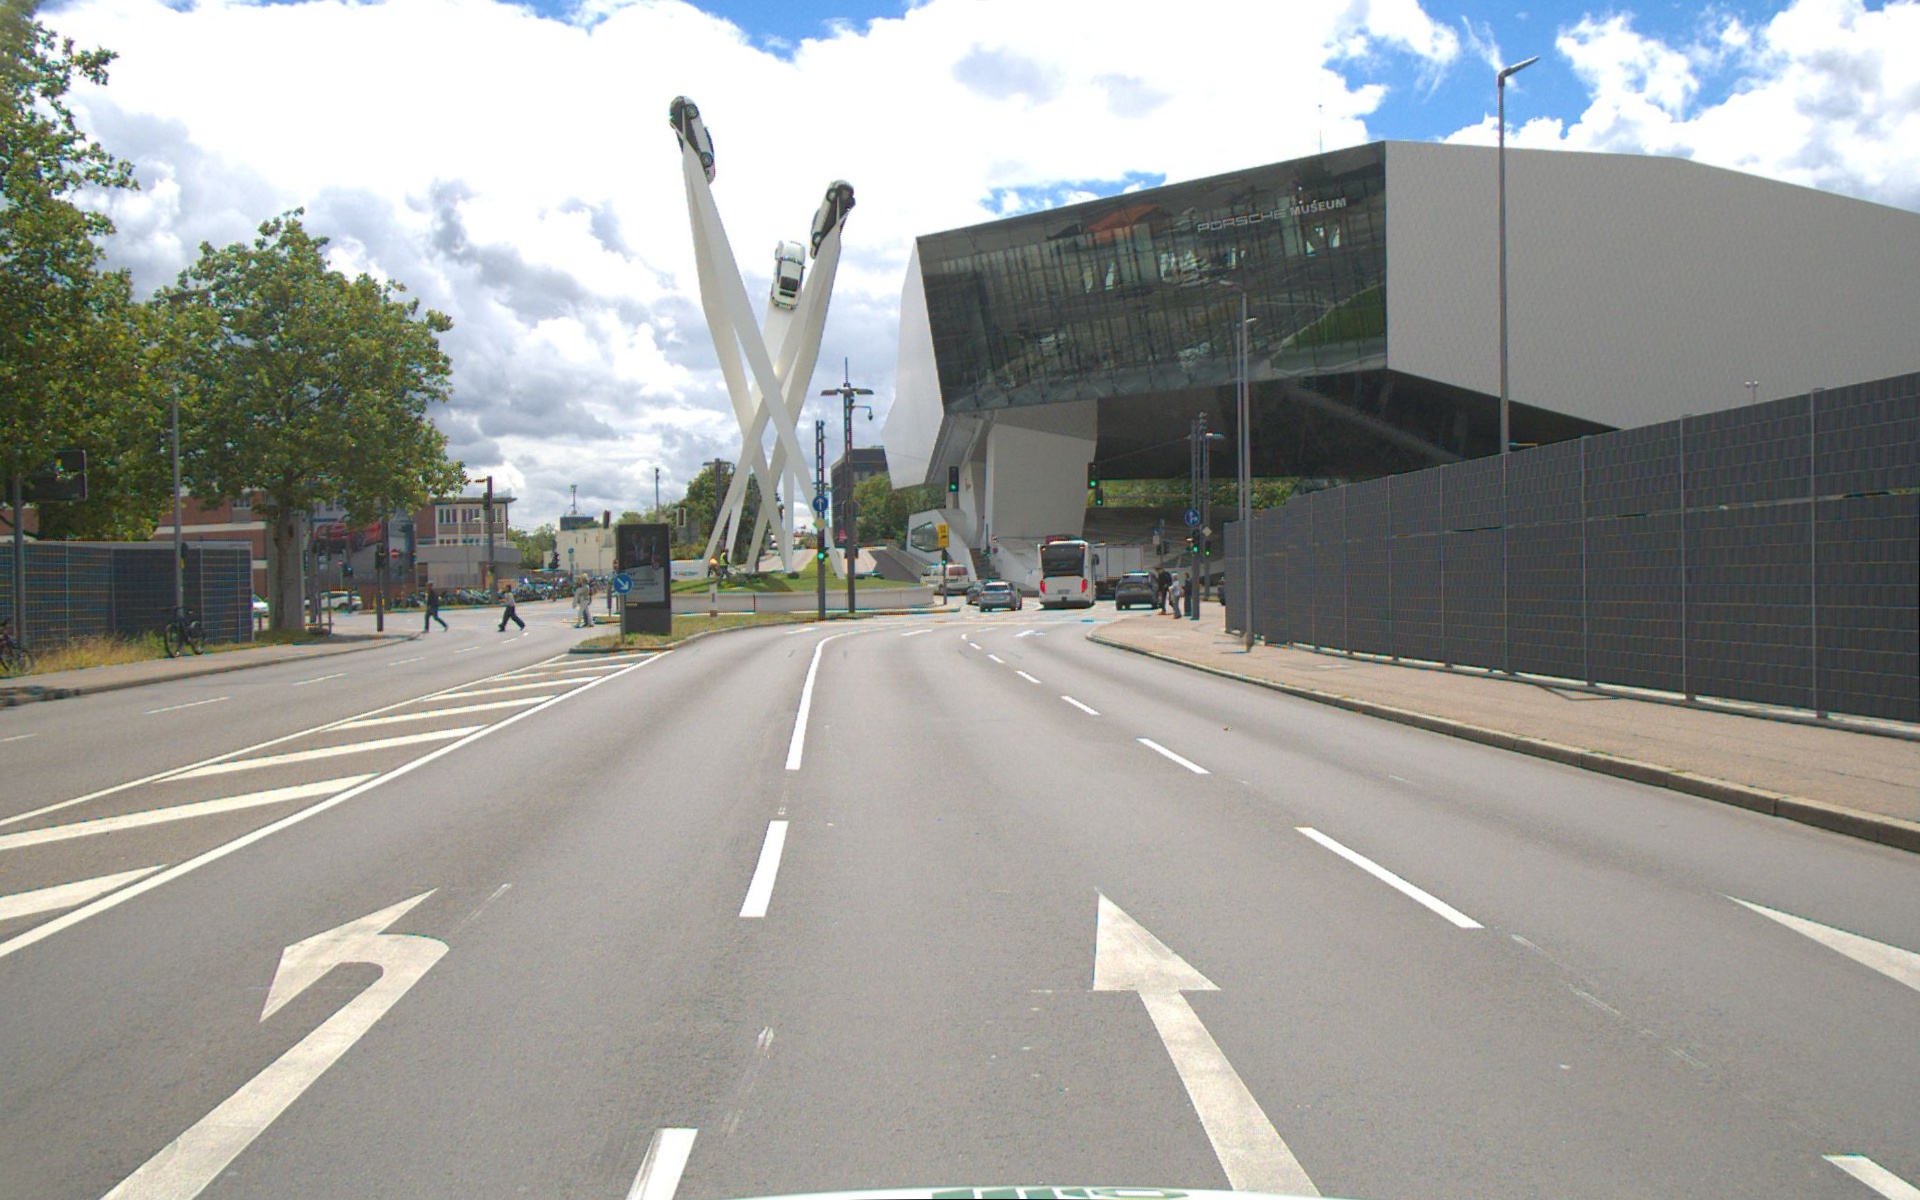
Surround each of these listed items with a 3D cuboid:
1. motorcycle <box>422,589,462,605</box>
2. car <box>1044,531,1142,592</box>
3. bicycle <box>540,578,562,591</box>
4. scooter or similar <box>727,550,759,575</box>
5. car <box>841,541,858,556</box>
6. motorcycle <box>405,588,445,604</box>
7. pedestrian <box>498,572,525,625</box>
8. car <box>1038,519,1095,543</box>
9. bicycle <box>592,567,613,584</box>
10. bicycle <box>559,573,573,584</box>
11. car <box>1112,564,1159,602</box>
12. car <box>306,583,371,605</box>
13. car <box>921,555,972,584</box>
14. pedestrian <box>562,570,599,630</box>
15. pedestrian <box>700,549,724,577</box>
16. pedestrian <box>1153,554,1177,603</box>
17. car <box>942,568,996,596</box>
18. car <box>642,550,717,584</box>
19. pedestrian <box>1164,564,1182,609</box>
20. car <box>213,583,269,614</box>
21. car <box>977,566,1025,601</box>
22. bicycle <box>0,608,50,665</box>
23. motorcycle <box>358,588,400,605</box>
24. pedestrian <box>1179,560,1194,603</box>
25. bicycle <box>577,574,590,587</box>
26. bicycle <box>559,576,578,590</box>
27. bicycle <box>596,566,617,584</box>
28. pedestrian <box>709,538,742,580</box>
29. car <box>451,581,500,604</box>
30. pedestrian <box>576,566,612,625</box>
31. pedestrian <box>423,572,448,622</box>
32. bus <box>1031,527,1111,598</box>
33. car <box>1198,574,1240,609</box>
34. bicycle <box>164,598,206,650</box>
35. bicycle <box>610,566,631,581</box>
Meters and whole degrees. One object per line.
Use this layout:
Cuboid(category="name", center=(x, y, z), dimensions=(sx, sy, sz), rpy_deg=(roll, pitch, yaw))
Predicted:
Cuboid(category="motorcycle", center=(-40.083, -0.262, 128.020), dimensions=(2.841, 1.216, 0.921), rpy_deg=(0, 0, 14))
Cuboid(category="car", center=(8.155, -2.294, 102.699), dimensions=(3.279, 3.565, 9.307), rpy_deg=(0, 0, -14))
Cuboid(category="bicycle", center=(-29.971, -1.137, 121.285), dimensions=(0.483, 0.881, 1.605), rpy_deg=(0, 3, 36))
Cuboid(category="scooter or similar", center=(-10.414, -1.821, 79.403), dimensions=(1.382, 1.042, 0.546), rpy_deg=(-5, 7, -24))
Cuboid(category="car", center=(-13.261, -6.218, 199.455), dimensions=(1.954, 1.664, 4.654), rpy_deg=(0, 2, -3))
Cuboid(category="motorcycle", center=(-40.612, -0.280, 125.521), dimensions=(2.841, 1.216, 0.921), rpy_deg=(0, 0, 14))
Cuboid(category="pedestrian", center=(-15.511, -0.046, 57.186), dimensions=(0.850, 1.805, 1.030), rpy_deg=(0, 0, -18))
Cuboid(category="car", center=(8.681, -5.665, 135.017), dimensions=(4.436, 1.418, 1.989), rpy_deg=(10, 11, 42))
Cuboid(category="bicycle", center=(-27.683, -1.910, 128.155), dimensions=(1.574, 1.339, 0.492), rpy_deg=(0, 0, -5))
Cuboid(category="bicycle", center=(-31.298, -1.711, 131.354), dimensions=(0.480, 0.881, 1.612), rpy_deg=(-1, 2, 7))
Cuboid(category="car", center=(7.899, -0.774, 74.314), dimensions=(1.951, 1.665, 4.004), rpy_deg=(0, 1, 8))
Cuboid(category="car", center=(-44.503, -0.419, 118.470), dimensions=(3.902, 1.527, 2.001), rpy_deg=(0, 0, 16))
Cuboid(category="car", center=(-0.914, -2.053, 111.910), dimensions=(1.969, 1.937, 3.967), rpy_deg=(0, 0, -26))
Cuboid(category="pedestrian", center=(-13.414, -0.008, 58.408), dimensions=(0.932, 2.091, 0.952), rpy_deg=(0, 0, 14))
Cuboid(category="pedestrian", center=(-13.616, -2.050, 90.777), dimensions=(0.835, 1.431, 0.965), rpy_deg=(-7, -2, 18))
Cuboid(category="pedestrian", center=(7.967, -0.829, 64.412), dimensions=(0.649, 1.899, 0.789), rpy_deg=(0, 0, -19))
Cuboid(category="car", center=(0.538, -1.059, 99.519), dimensions=(1.965, 1.665, 3.975), rpy_deg=(0, 0, -21))
Cuboid(category="car", center=(-18.647, -2.204, 110.028), dimensions=(4.543, 2.209, 2.001), rpy_deg=(0, 0, 2))
Cuboid(category="pedestrian", center=(7.815, -0.488, 60.616), dimensions=(0.645, 1.636, 0.823), rpy_deg=(0, 0, 7))
Cuboid(category="car", center=(-43.865, -0.097, 100.885), dimensions=(3.711, 1.828, 1.899), rpy_deg=(0, 0, 44))
Cuboid(category="car", center=(2.088, -0.819, 82.886), dimensions=(1.951, 1.665, 4.003), rpy_deg=(0, 0, 8))
Cuboid(category="bicycle", center=(-17.665, 0.676, 31.107), dimensions=(0.290, 1.023, 1.253), rpy_deg=(0, 0, 6))
Cuboid(category="motorcycle", center=(-42.590, -0.245, 121.283), dimensions=(2.841, 1.216, 0.921), rpy_deg=(0, 0, 14))
Cuboid(category="pedestrian", center=(8.707, -0.719, 63.644), dimensions=(0.454, 1.644, 0.663), rpy_deg=(0, 0, -2))
Cuboid(category="bicycle", center=(-28.526, -1.449, 125.352), dimensions=(0.480, 0.881, 1.613), rpy_deg=(-1, 3, 7))
Cuboid(category="bicycle", center=(-29.096, -1.258, 122.910), dimensions=(0.481, 0.881, 1.611), rpy_deg=(0, 5, 23))
Cuboid(category="bicycle", center=(-27.683, -1.954, 129.648), dimensions=(1.574, 1.407, 0.492), rpy_deg=(0, 0, -5))
Cuboid(category="pedestrian", center=(-11.186, -1.963, 78.924), dimensions=(1.264, 1.847, 0.981), rpy_deg=(-5, 5, -21))
Cuboid(category="car", center=(-39.219, -0.613, 133.774), dimensions=(3.397, 1.835, 1.706), rpy_deg=(0, 0, 12))
Cuboid(category="pedestrian", center=(-13.139, -0.155, 59.379), dimensions=(0.932, 2.091, 0.952), rpy_deg=(0, 0, 14))
Cuboid(category="pedestrian", center=(-18.857, -0.109, 59.455), dimensions=(0.850, 1.805, 1.030), rpy_deg=(0, 0, -18))
Cuboid(category="bus", center=(5.916, -1.832, 86.278), dimensions=(3.006, 3.421, 12.234), rpy_deg=(0, 0, 9))
Cuboid(category="car", center=(12.480, -0.413, 79.830), dimensions=(1.951, 1.665, 4.003), rpy_deg=(0, 0, 8))
Cuboid(category="bicycle", center=(-17.593, 0.540, 37.559), dimensions=(0.290, 1.151, 1.484), rpy_deg=(0, 0, -1))
Cuboid(category="bicycle", center=(-28.159, -2.222, 137.163), dimensions=(1.704, 1.202, 0.669), rpy_deg=(0, 2, -6))
